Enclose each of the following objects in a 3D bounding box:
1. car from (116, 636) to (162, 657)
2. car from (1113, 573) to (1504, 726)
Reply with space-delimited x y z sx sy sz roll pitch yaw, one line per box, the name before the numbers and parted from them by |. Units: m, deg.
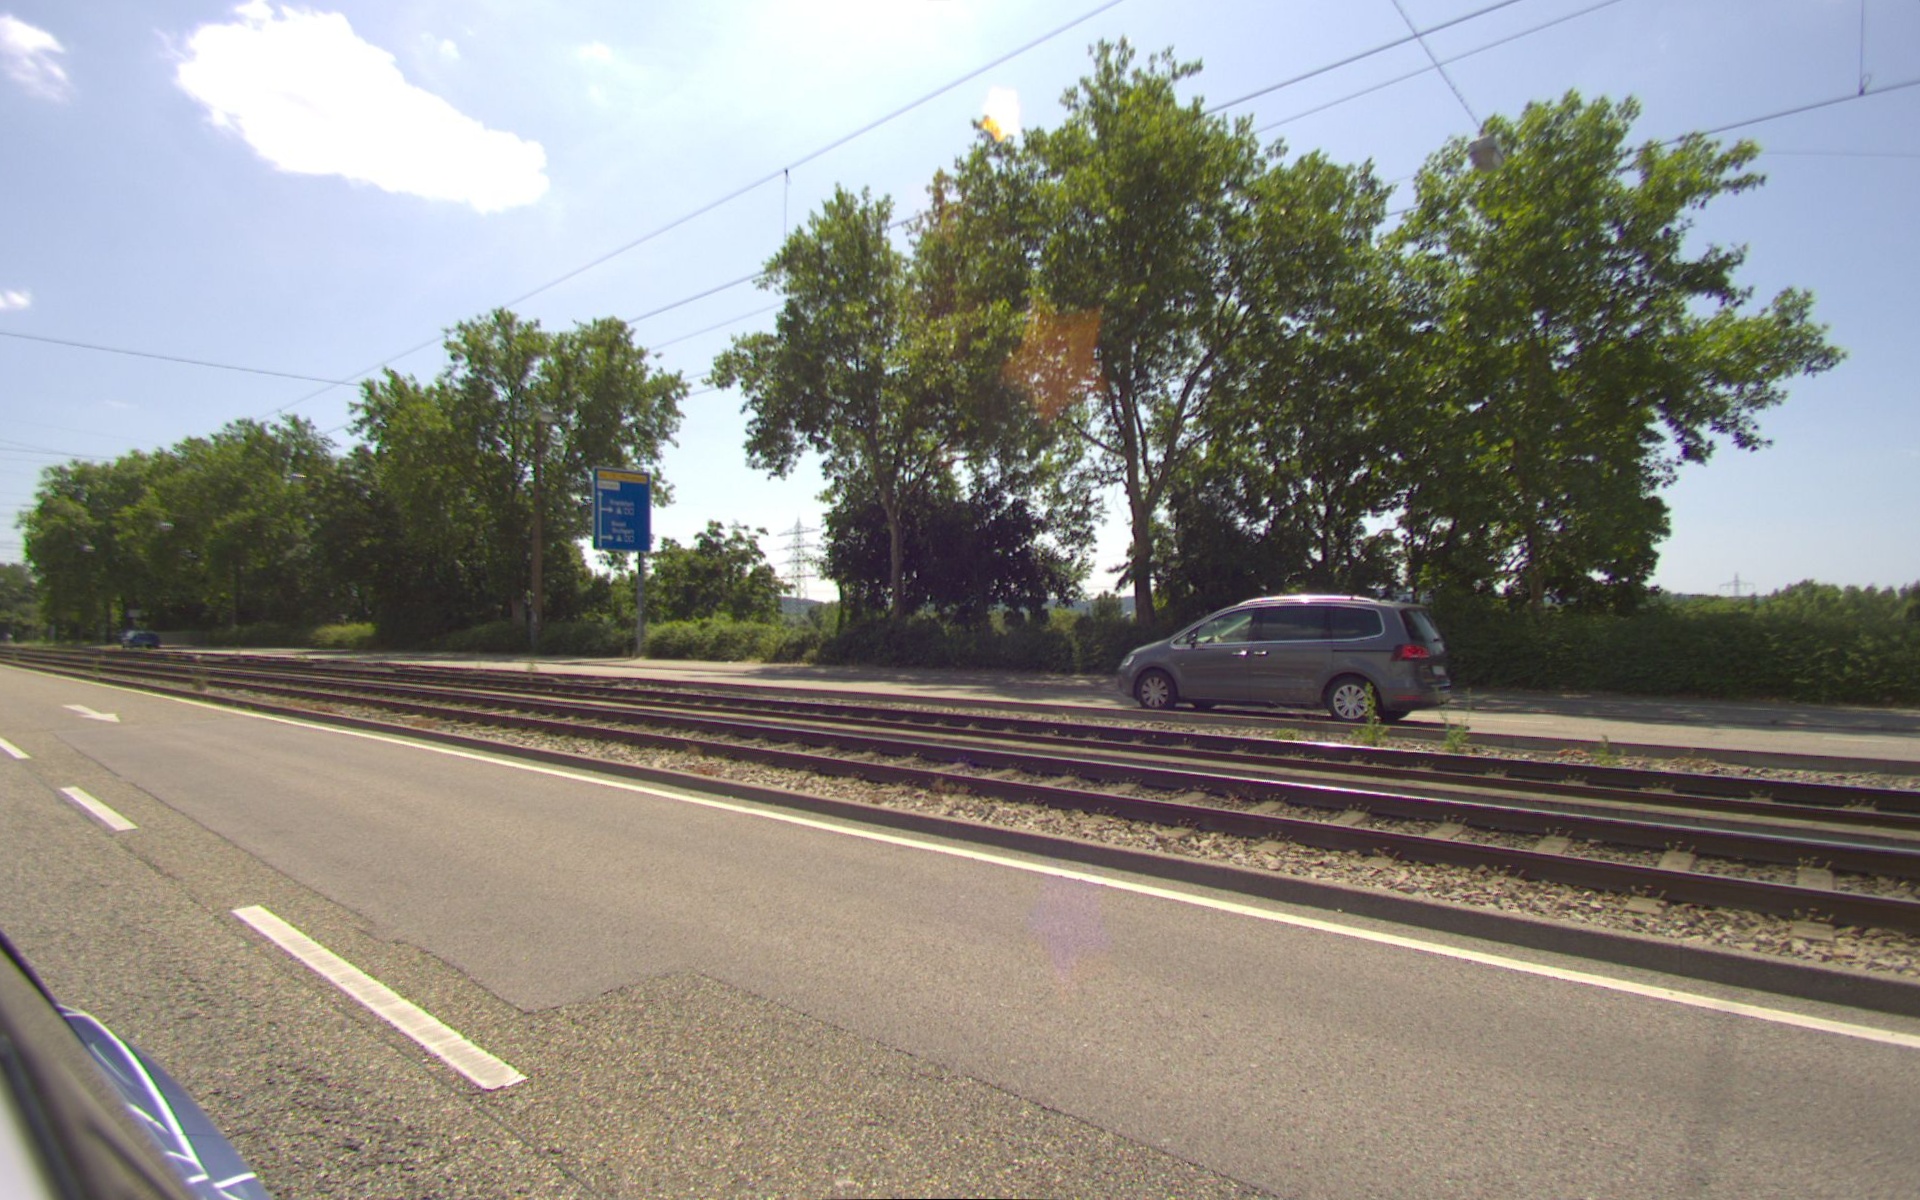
car | -62.608 3.544 77.149 4.731 1.515 1.780 -2 -4 40
car | 4.868 0.713 14.618 4.965 1.845 1.973 -2 -4 40
